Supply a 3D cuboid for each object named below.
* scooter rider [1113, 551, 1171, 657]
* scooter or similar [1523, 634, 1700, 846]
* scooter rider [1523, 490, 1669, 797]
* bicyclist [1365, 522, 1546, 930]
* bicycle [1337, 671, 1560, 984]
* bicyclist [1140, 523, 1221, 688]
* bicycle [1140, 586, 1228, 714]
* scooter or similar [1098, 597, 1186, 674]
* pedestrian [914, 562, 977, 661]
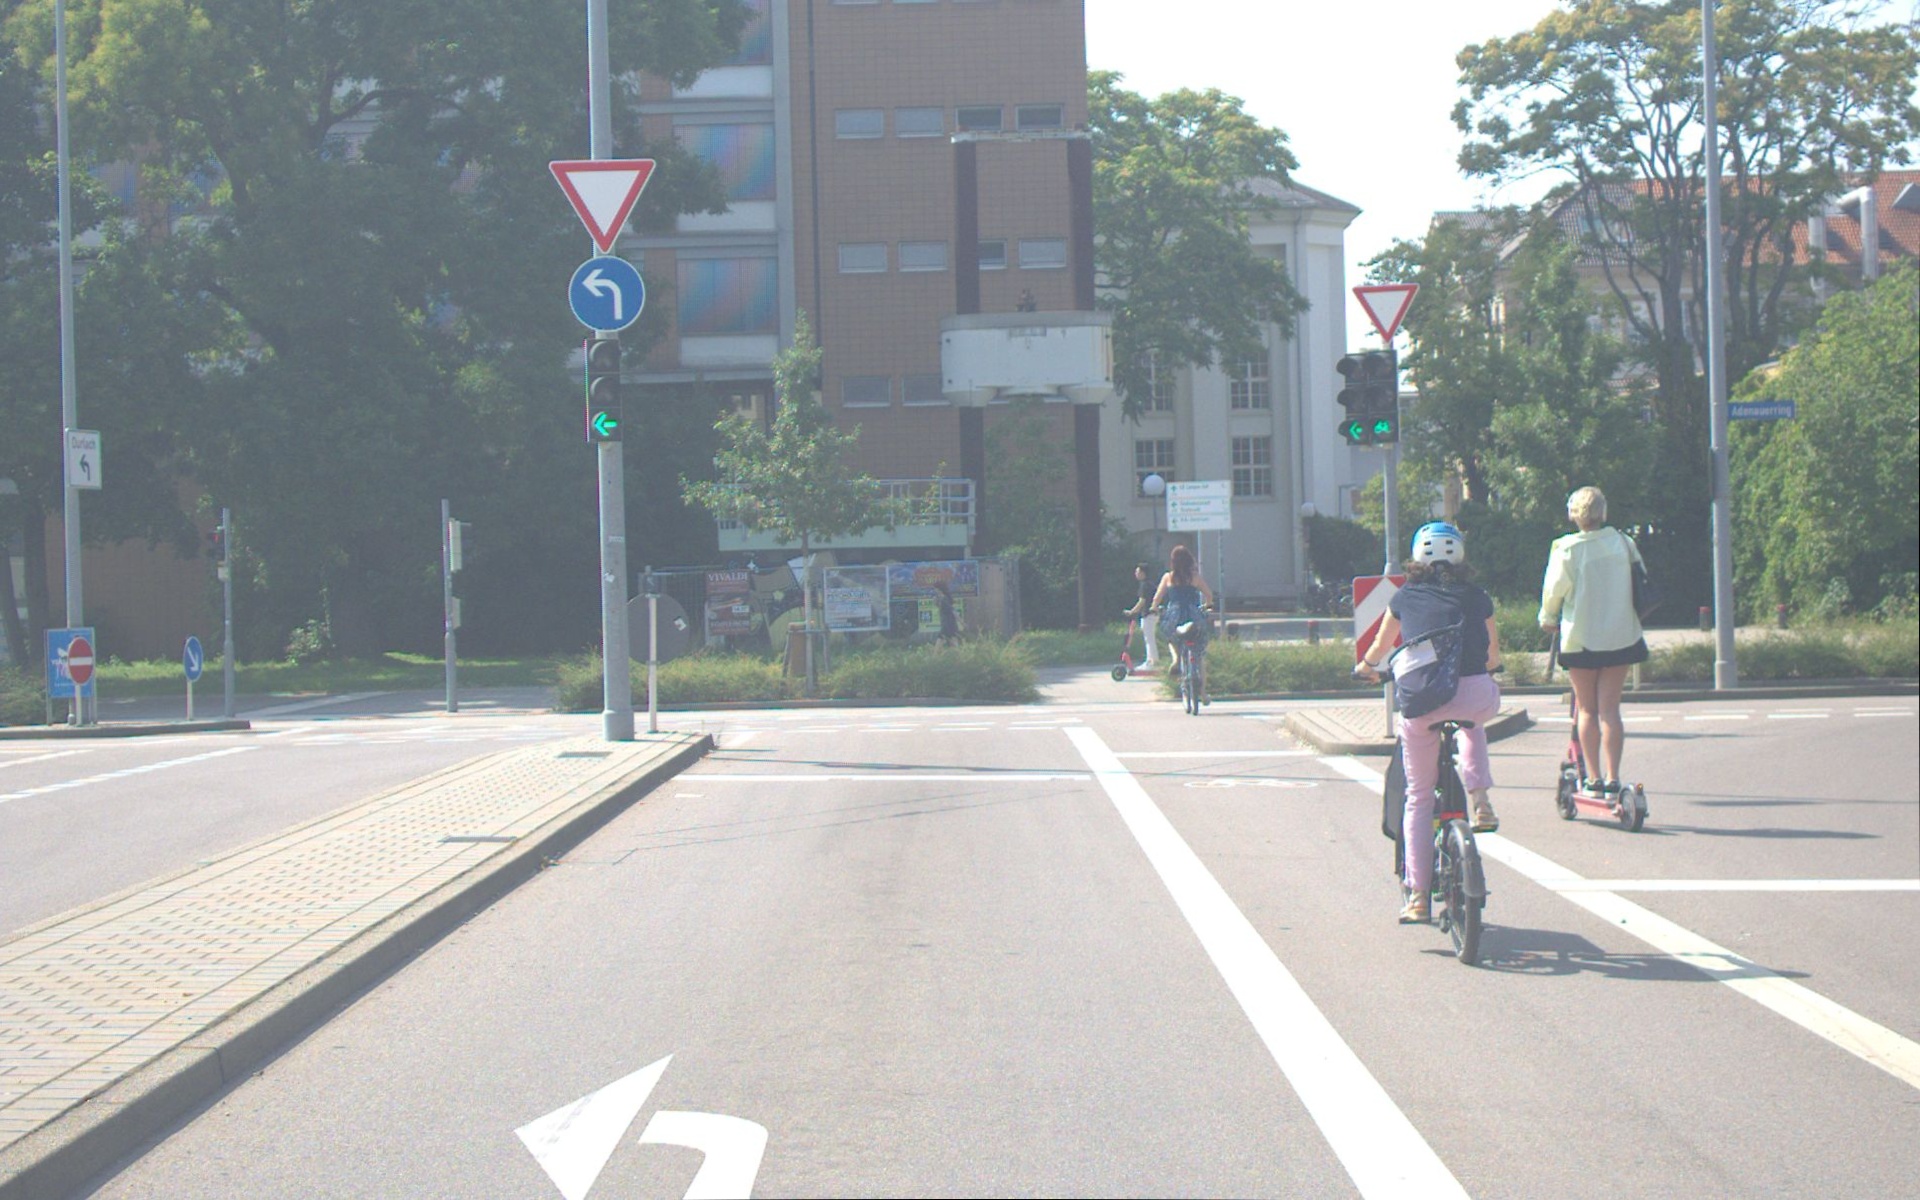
[{"bbox_3d":[3.036,0.067,57.380,0.803,1.733,0.688,-2,0,12],"label":"scooter rider"},{"bbox_3d":[3.624,0.753,19.252,0.556,1.056,2.004,-2,1,-1],"label":"scooter or similar"},{"bbox_3d":[3.605,0.240,19.518,0.670,1.694,0.539,-2,1,-1],"label":"scooter rider"},{"bbox_3d":[1.865,0.457,13.013,0.548,1.491,0.804,-1,1,-1],"label":"bicyclist"},{"bbox_3d":[1.868,0.838,13.373,0.556,1.056,2.004,0,1,-1],"label":"bicycle"},{"bbox_3d":[2.212,0.049,34.497,0.690,1.593,0.844,-2,2,0],"label":"bicyclist"},{"bbox_3d":[2.228,0.475,34.450,0.693,1.151,2.371,-2,2,0],"label":"bicycle"},{"bbox_3d":[3.042,0.596,57.442,1.364,1.230,0.585,-2,0,12],"label":"scooter or similar"},{"bbox_3d":[-0.254,0.194,60.846,0.877,1.698,0.707,-2,2,17],"label":"pedestrian"}]
